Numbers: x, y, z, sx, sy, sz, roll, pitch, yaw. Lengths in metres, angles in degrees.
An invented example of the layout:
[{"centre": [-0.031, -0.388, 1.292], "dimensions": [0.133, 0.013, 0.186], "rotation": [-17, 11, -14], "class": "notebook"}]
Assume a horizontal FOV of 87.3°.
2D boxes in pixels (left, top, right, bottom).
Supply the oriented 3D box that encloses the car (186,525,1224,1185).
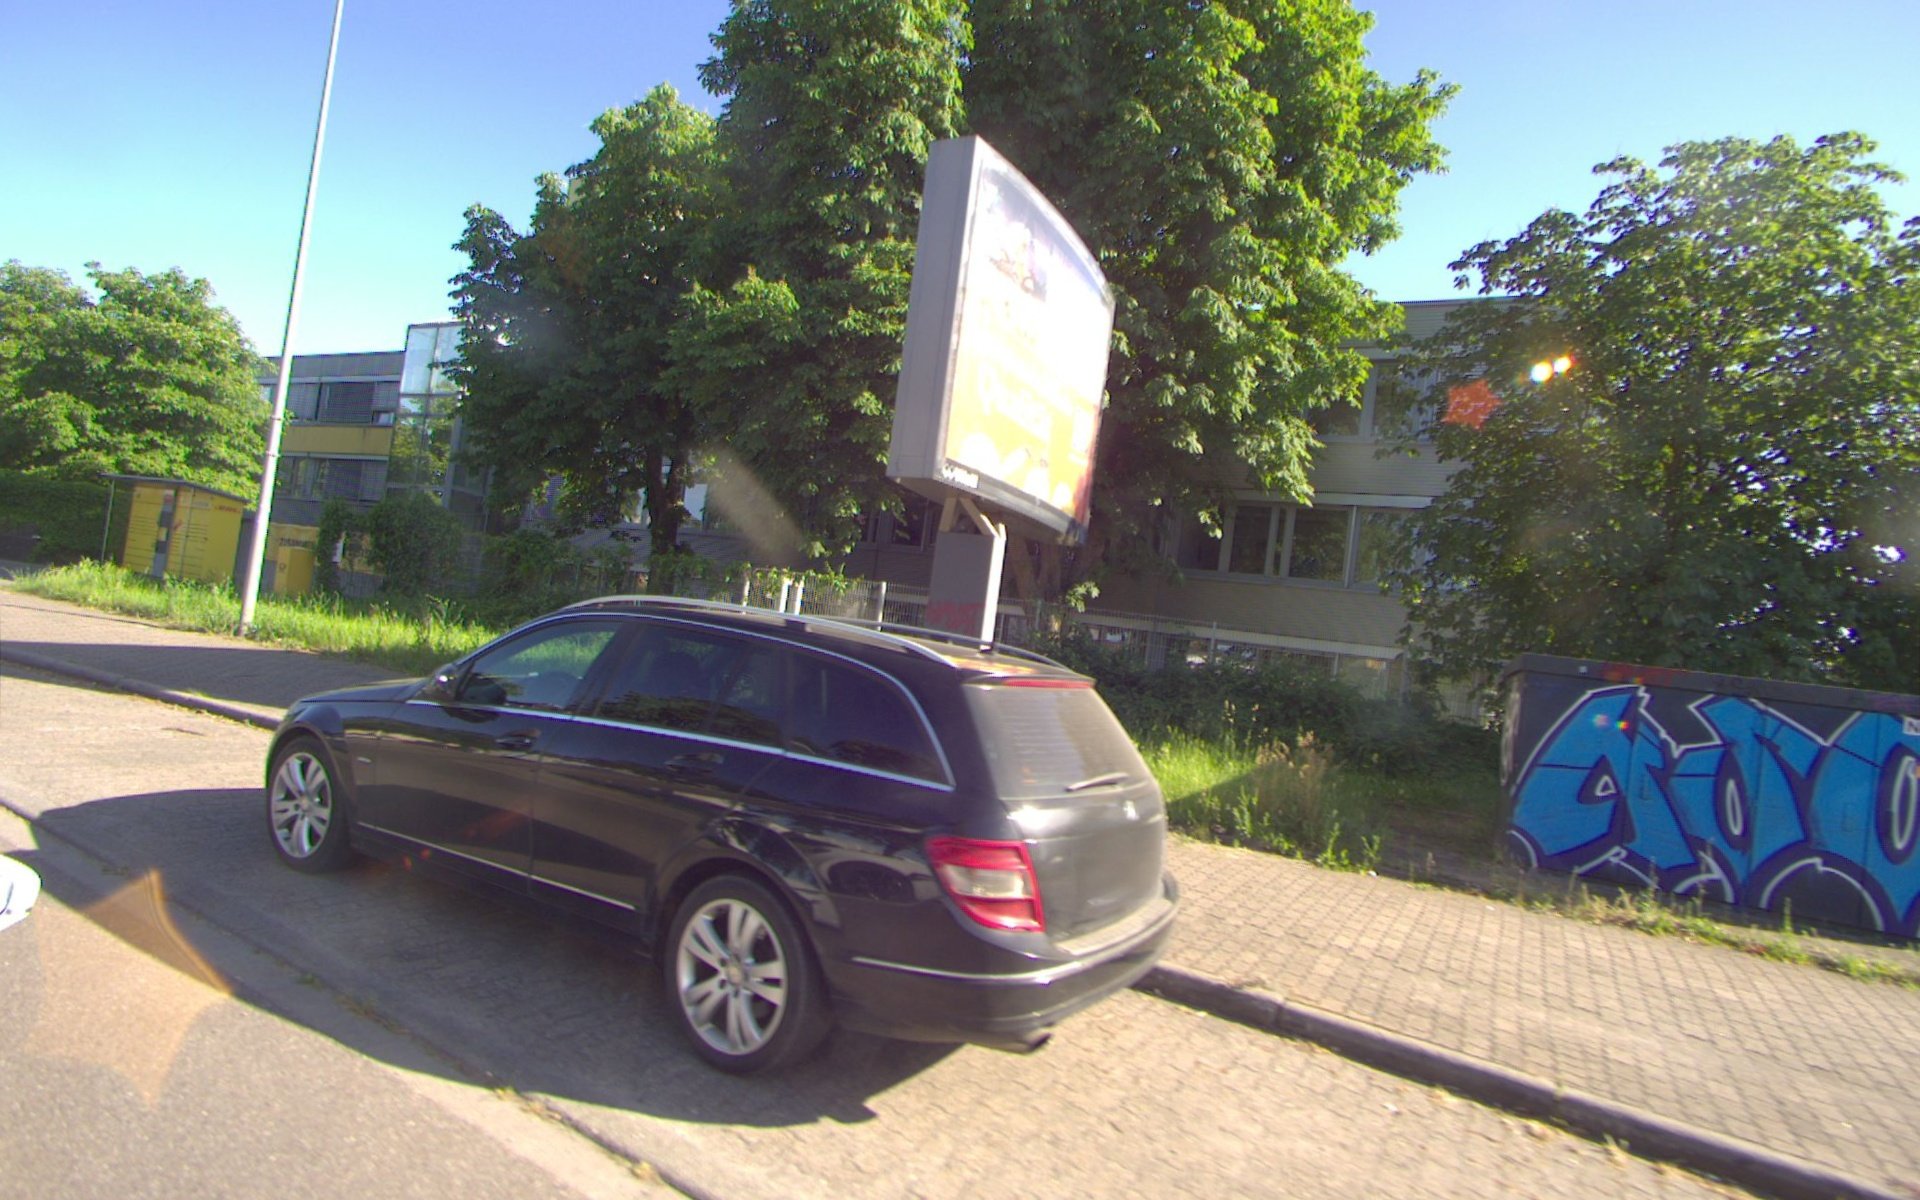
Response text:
[{"centre": [-1.298, 0.669, 4.496], "dimensions": [4.349, 1.436, 1.813], "rotation": [7, -2, 30], "class": "car"}]
